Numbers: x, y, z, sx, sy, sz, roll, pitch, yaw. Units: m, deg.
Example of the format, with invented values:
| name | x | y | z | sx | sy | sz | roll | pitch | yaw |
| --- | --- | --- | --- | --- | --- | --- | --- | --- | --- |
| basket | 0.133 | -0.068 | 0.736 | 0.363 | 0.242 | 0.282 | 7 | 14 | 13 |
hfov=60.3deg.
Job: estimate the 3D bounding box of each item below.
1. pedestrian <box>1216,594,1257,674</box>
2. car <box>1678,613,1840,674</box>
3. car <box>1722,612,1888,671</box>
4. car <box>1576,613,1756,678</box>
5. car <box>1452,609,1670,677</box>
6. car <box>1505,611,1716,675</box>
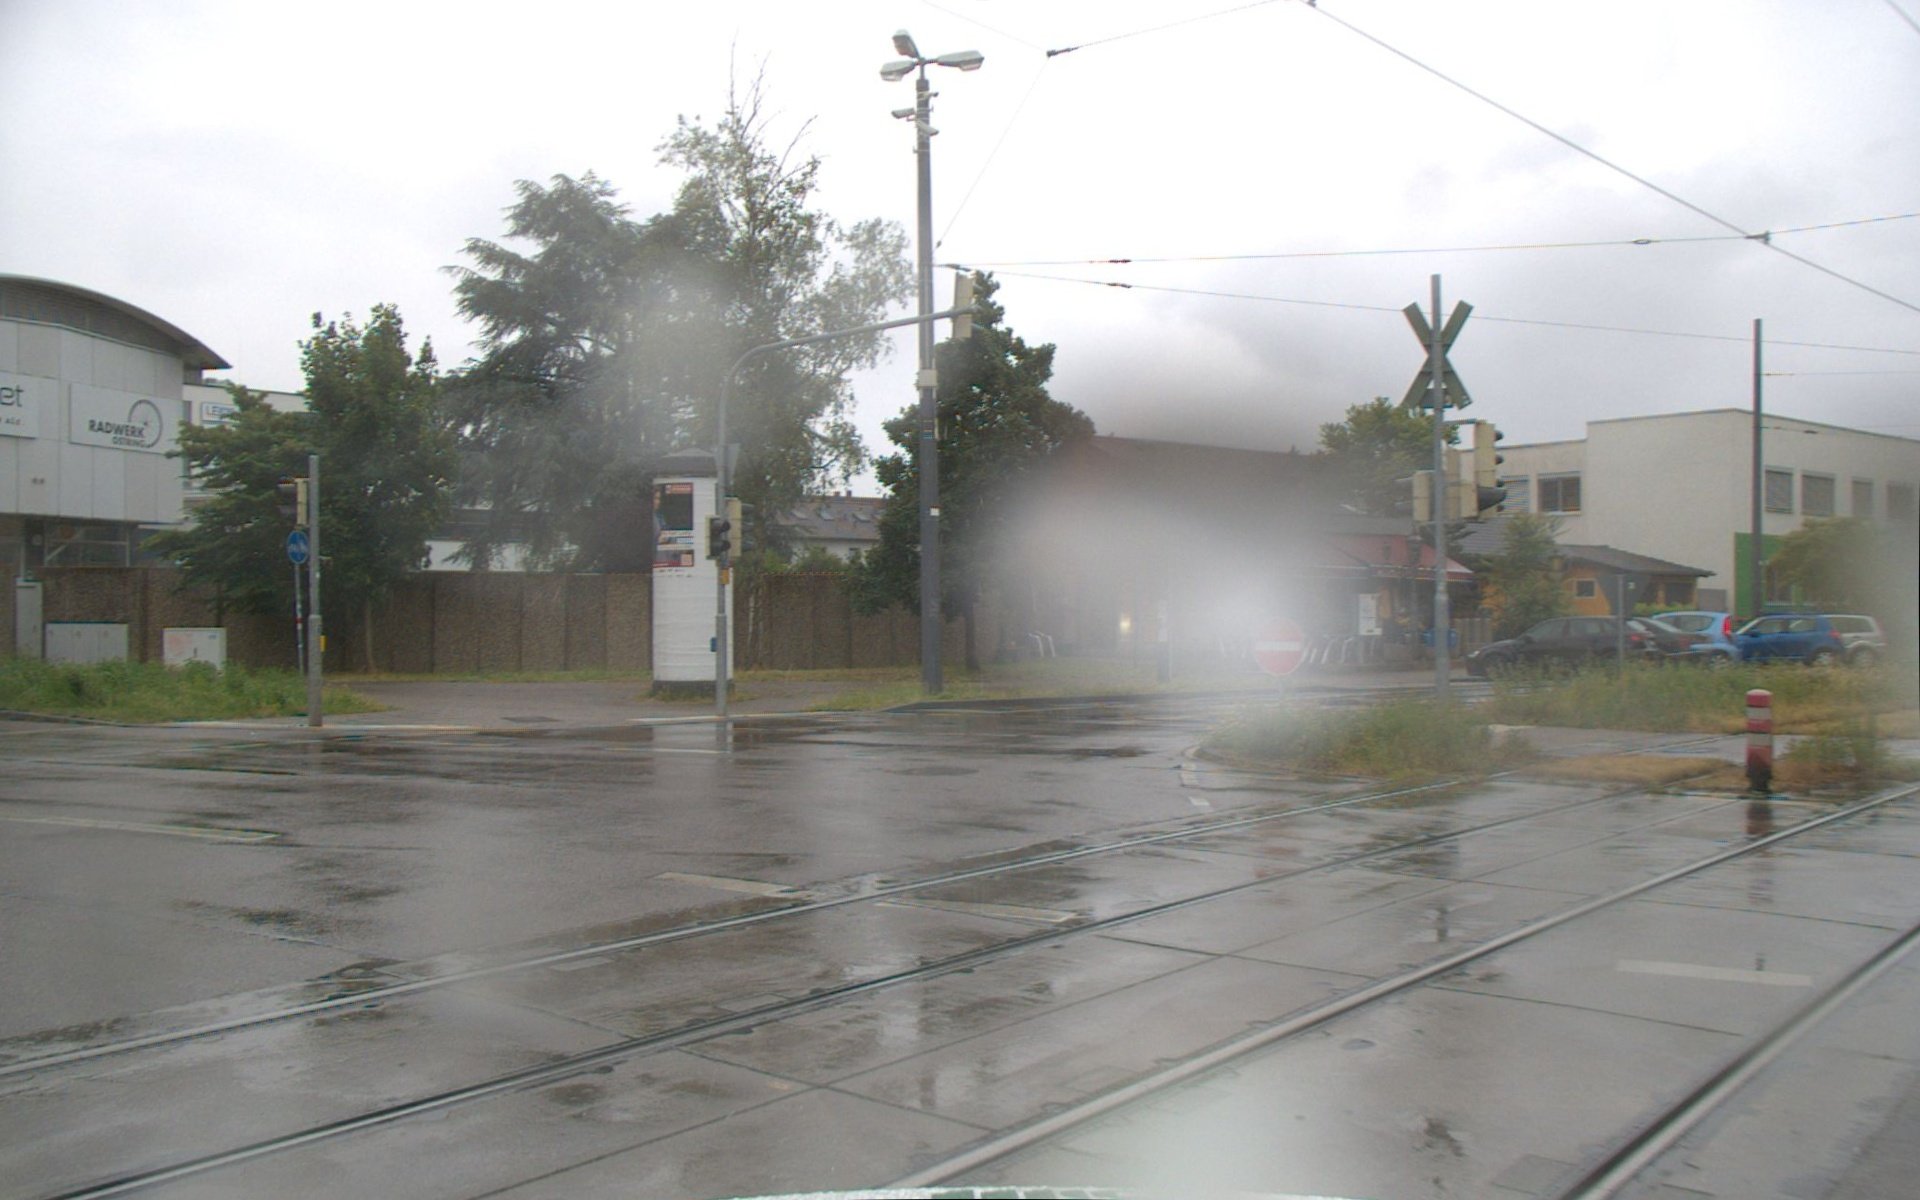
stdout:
| name | x | y | z | sx | sy | sz | roll | pitch | yaw |
| --- | --- | --- | --- | --- | --- | --- | --- | --- | --- |
| pedestrian | 6.524 | 0.784 | 39.012 | 0.710 | 1.829 | 0.885 | 1 | 1 | 27 |
| car | 21.980 | 1.177 | 45.665 | 3.905 | 1.609 | 1.930 | 0 | -1 | 22 |
| car | 24.383 | 1.184 | 47.856 | 4.023 | 1.670 | 1.930 | 0 | -1 | 19 |
| car | 18.035 | 1.132 | 42.320 | 3.922 | 1.609 | 1.850 | -1 | -1 | 38 |
| car | 13.836 | 1.001 | 38.187 | 4.399 | 1.443 | 1.852 | -3 | -2 | 34 |
| car | 15.648 | 1.053 | 39.865 | 4.419 | 1.443 | 1.852 | -2 | -2 | 34 |
